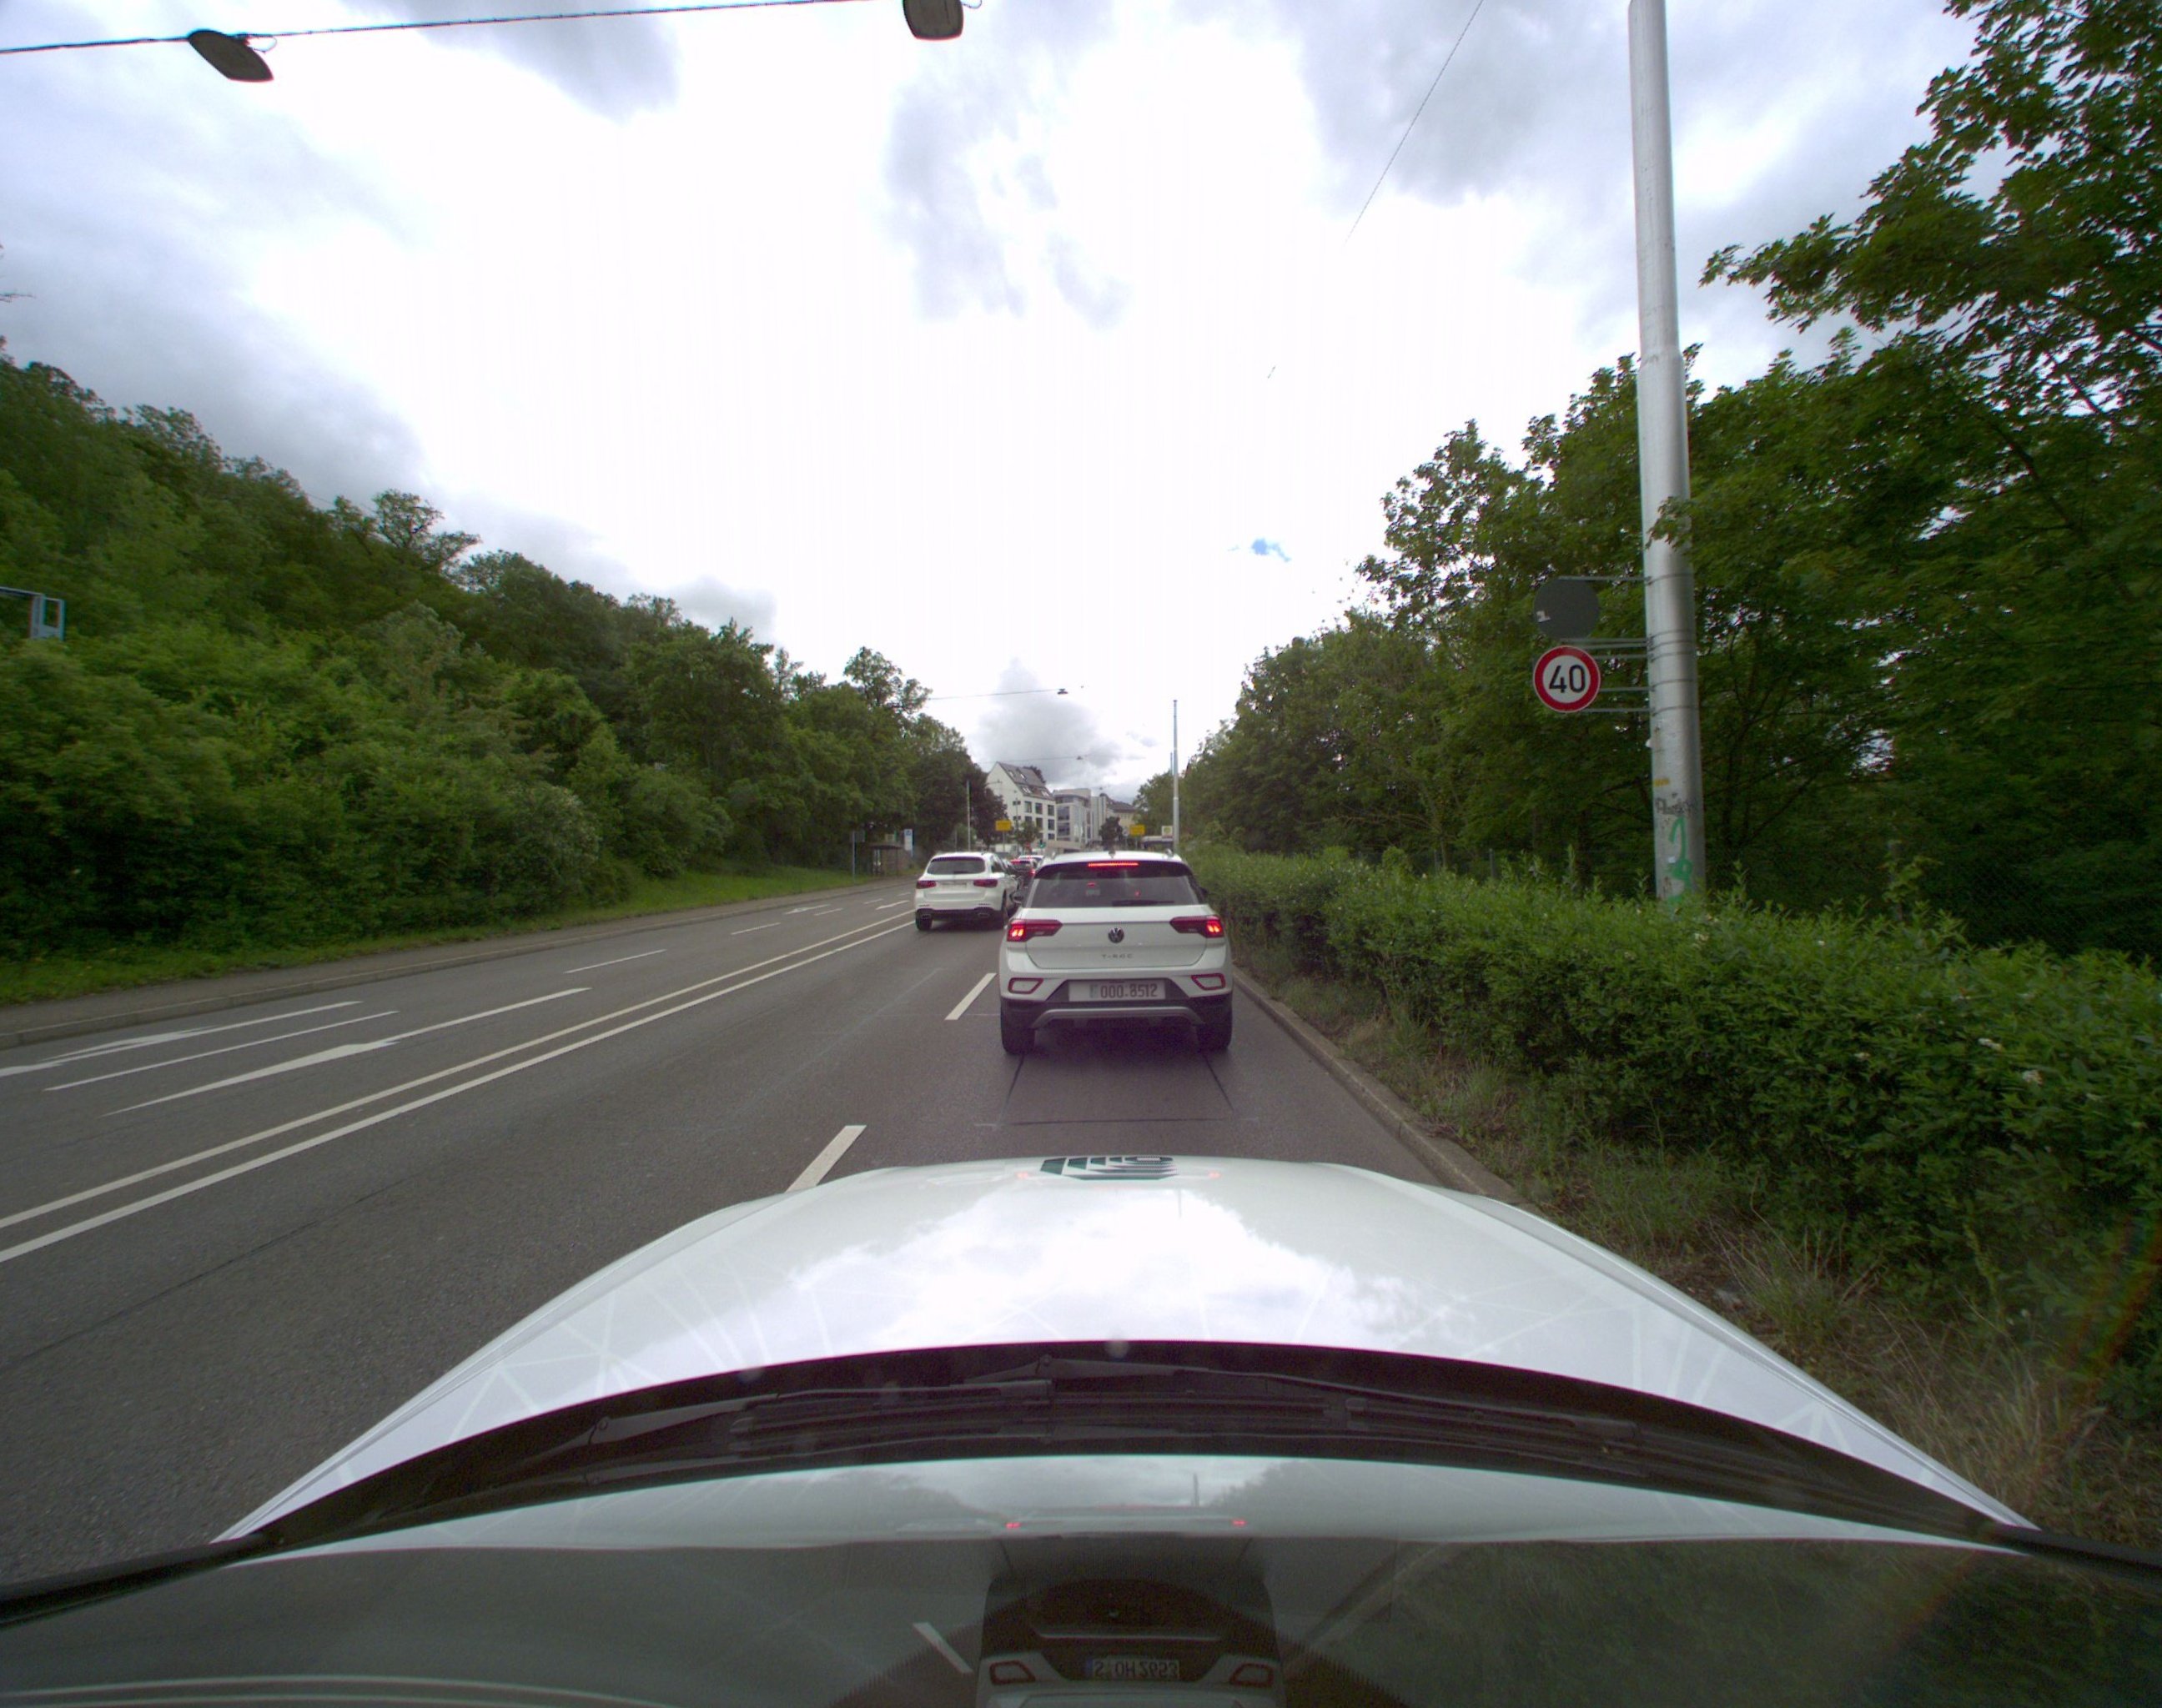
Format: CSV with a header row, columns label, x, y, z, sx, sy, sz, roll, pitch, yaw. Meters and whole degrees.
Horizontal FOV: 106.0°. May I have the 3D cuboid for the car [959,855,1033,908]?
label,x,y,z,sx,sy,sz,roll,pitch,yaw
car,-2.613,0.801,25.916,1.823,1.497,4.001,-2,0,1

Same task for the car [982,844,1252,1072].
label,x,y,z,sx,sy,sz,roll,pitch,yaw
car,0.282,0.718,7.618,1.823,1.526,4.001,-2,0,1

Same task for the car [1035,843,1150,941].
label,x,y,z,sx,sy,sz,roll,pitch,yaw
car,0.219,0.616,15.283,1.823,1.526,4.001,-2,0,1

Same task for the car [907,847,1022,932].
label,x,y,z,sx,sy,sz,roll,pitch,yaw
car,-2.467,0.706,18.248,1.911,1.669,4.001,-1,0,1

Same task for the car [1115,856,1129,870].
label,x,y,z,sx,sy,sz,roll,pitch,yaw
car,6.392,1.397,127.396,1.986,2.013,4.001,-3,0,1

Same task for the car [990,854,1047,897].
label,x,y,z,sx,sy,sz,roll,pitch,yaw
car,-2.412,0.817,32.397,1.823,1.526,4.001,-2,0,1

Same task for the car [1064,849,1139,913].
label,x,y,z,sx,sy,sz,roll,pitch,yaw
car,0.552,0.676,22.386,1.823,1.526,4.001,-2,0,1

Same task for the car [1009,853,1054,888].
label,x,y,z,sx,sy,sz,roll,pitch,yaw
car,-2.342,0.761,39.571,1.823,1.526,4.001,-2,0,1

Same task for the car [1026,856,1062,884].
label,x,y,z,sx,sy,sz,roll,pitch,yaw
car,-2.102,0.891,47.390,1.823,1.526,4.001,-2,0,1

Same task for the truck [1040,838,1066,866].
label,x,y,z,sx,sy,sz,roll,pitch,yaw
truck,-2.945,-0.198,86.221,2.354,2.782,4.478,-3,0,1

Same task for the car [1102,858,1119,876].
label,x,y,z,sx,sy,sz,roll,pitch,yaw
car,3.603,1.605,98.375,1.986,2.014,4.002,-3,-1,2

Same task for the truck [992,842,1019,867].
label,x,y,z,sx,sy,sz,roll,pitch,yaw
truck,-9.533,0.057,103.594,2.284,3.051,6.983,-3,0,3

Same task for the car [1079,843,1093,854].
label,x,y,z,sx,sy,sz,roll,pitch,yaw
car,0.753,-0.748,117.295,1.823,1.526,4.001,-2,0,1

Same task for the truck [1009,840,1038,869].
label,x,y,z,sx,sy,sz,roll,pitch,yaw
truck,-5.740,0.057,81.555,2.354,2.706,4.478,-3,0,1

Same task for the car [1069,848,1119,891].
label,x,y,z,sx,sy,sz,roll,pitch,yaw
car,0.512,0.587,32.487,1.823,1.526,4.001,-2,0,1

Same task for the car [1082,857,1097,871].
label,x,y,z,sx,sy,sz,roll,pitch,yaw
car,1.072,1.319,105.090,1.809,1.656,3.929,-3,0,1

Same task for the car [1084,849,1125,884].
label,x,y,z,sx,sy,sz,roll,pitch,yaw
car,1.113,0.555,39.299,1.823,1.526,4.001,-2,0,1

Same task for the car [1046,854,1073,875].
label,x,y,z,sx,sy,sz,roll,pitch,yaw
car,-1.567,0.772,61.508,1.823,1.526,4.001,-2,0,1

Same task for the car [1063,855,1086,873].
label,x,y,z,sx,sy,sz,roll,pitch,yaw
car,-0.557,0.895,73.043,1.823,1.526,4.001,-2,0,1
